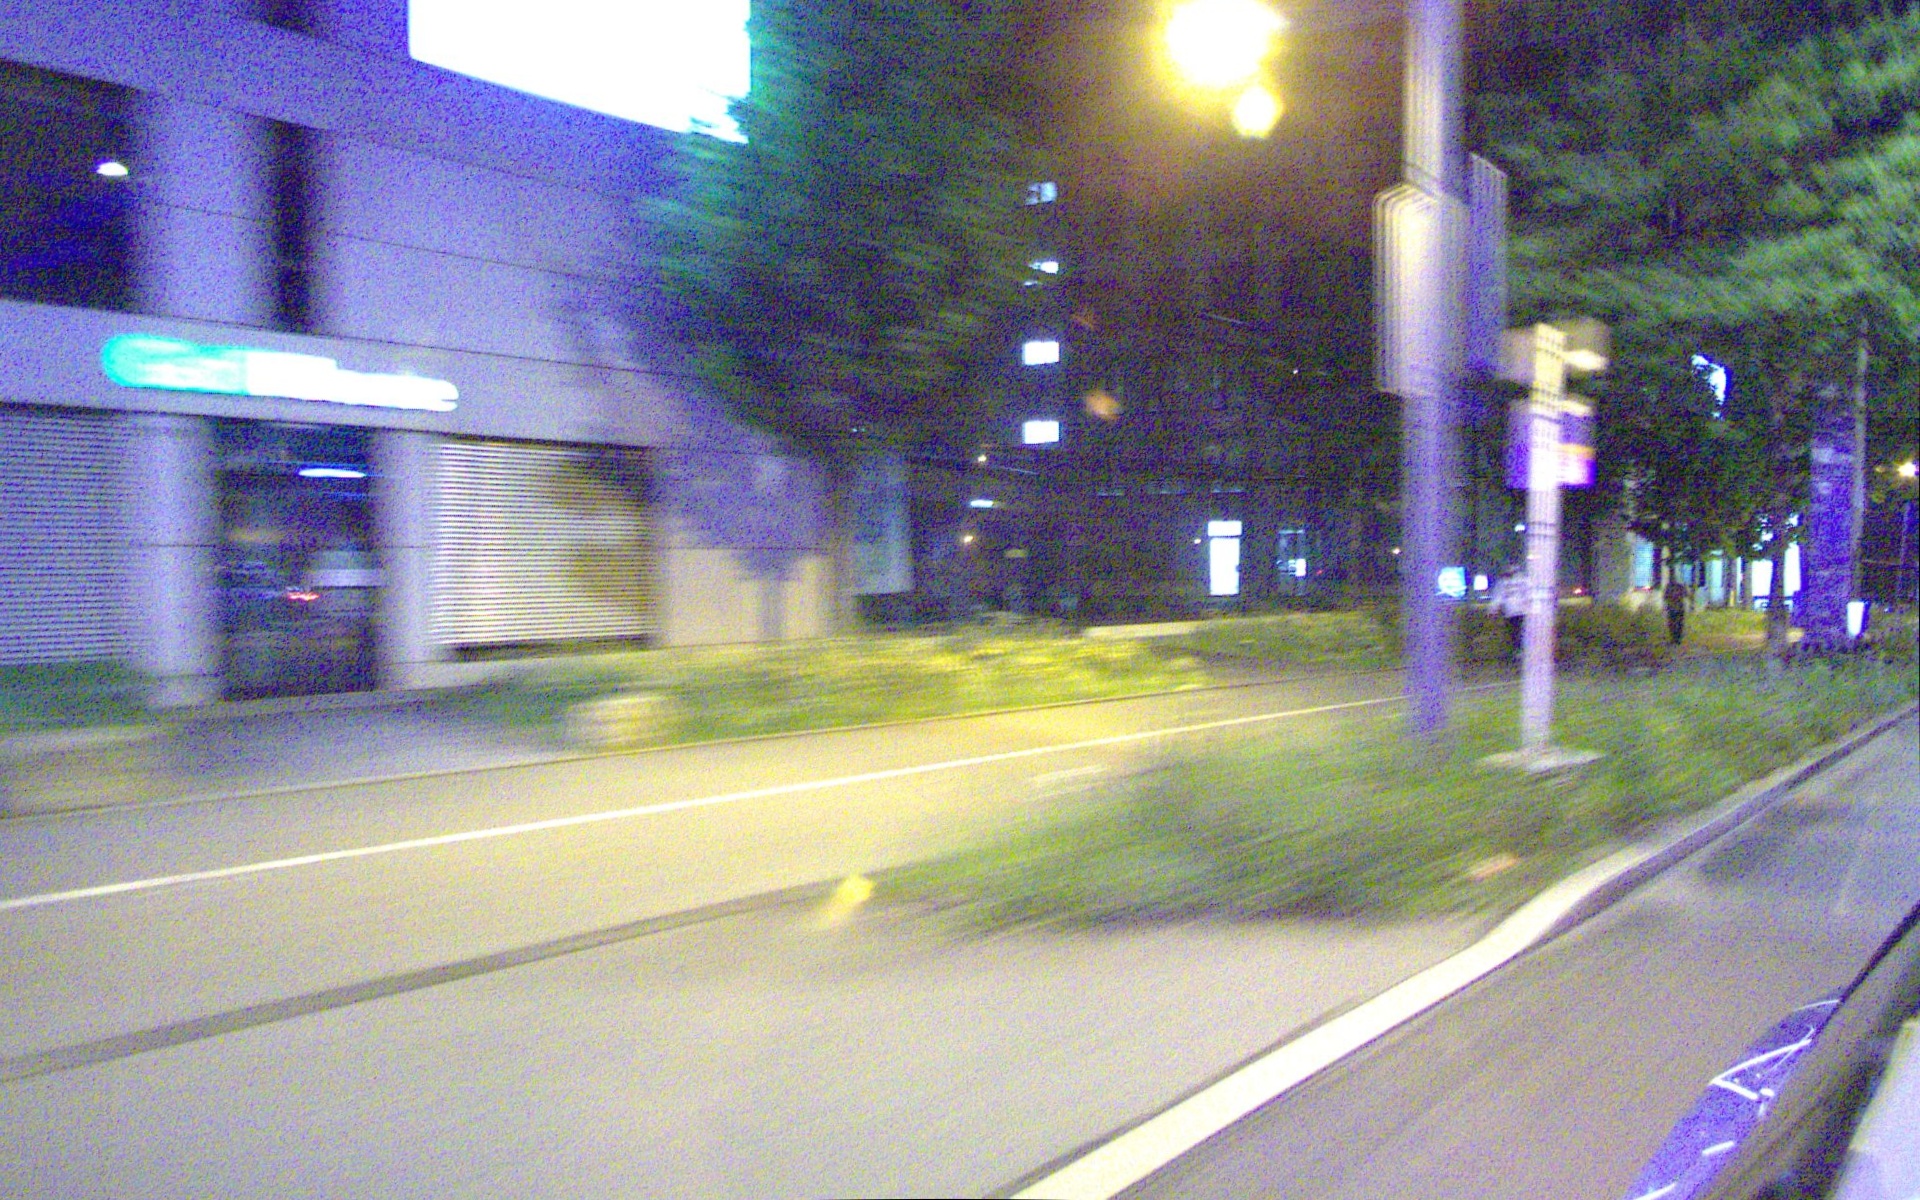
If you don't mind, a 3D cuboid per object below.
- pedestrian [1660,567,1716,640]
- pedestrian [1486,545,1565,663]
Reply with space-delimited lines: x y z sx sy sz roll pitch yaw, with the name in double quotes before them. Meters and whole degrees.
"pedestrian" 17.793 0.057 24.735 0.940 1.728 0.854 -1 3 -40
"pedestrian" 9.576 0.049 17.153 0.777 1.936 0.808 0 3 -31
